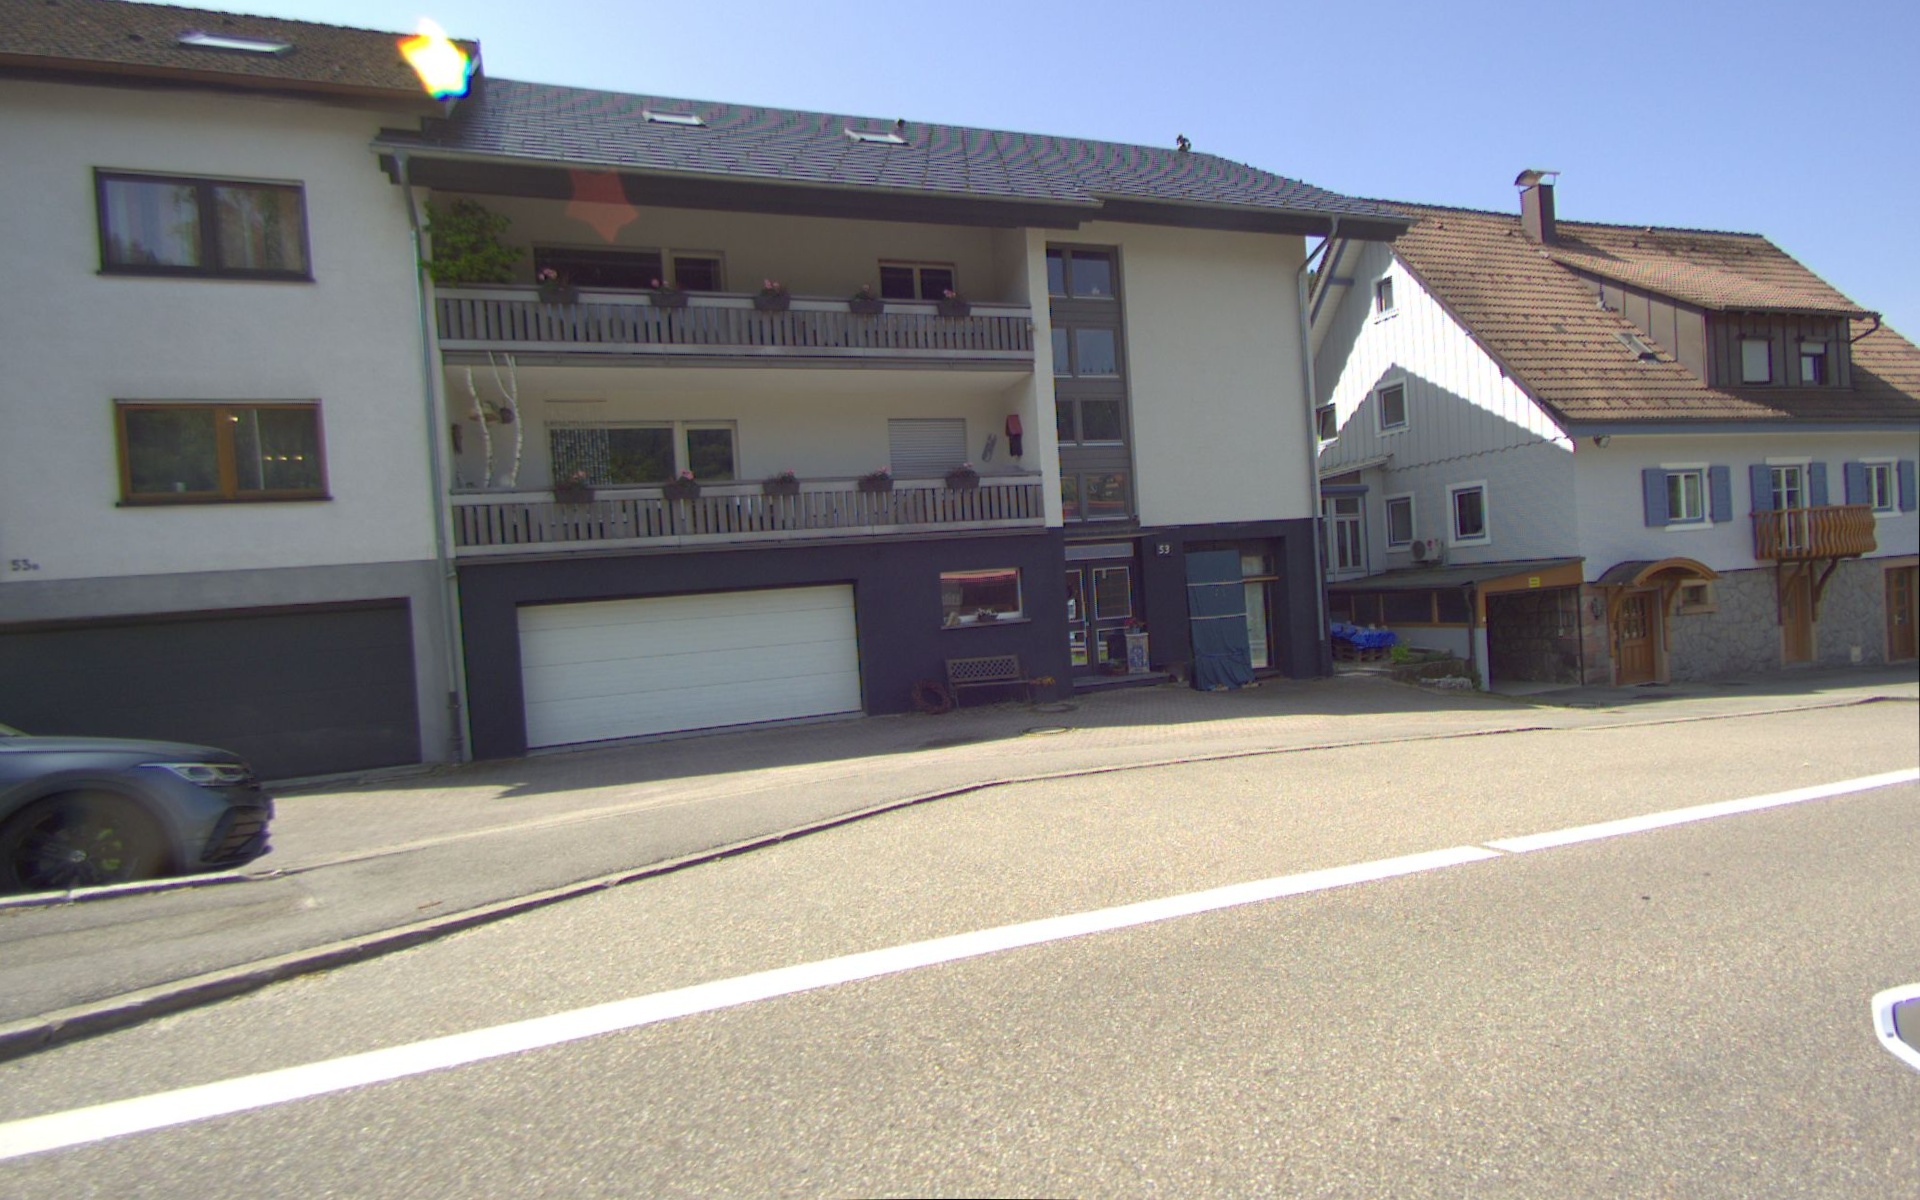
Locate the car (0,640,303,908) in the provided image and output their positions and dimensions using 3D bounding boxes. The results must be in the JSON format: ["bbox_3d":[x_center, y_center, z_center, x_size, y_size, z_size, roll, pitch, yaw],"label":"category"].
[{"bbox_3d":[-6.328,0.944,5.381,4.650,1.356,1.770,0,-1,-36],"label":"car"}]
